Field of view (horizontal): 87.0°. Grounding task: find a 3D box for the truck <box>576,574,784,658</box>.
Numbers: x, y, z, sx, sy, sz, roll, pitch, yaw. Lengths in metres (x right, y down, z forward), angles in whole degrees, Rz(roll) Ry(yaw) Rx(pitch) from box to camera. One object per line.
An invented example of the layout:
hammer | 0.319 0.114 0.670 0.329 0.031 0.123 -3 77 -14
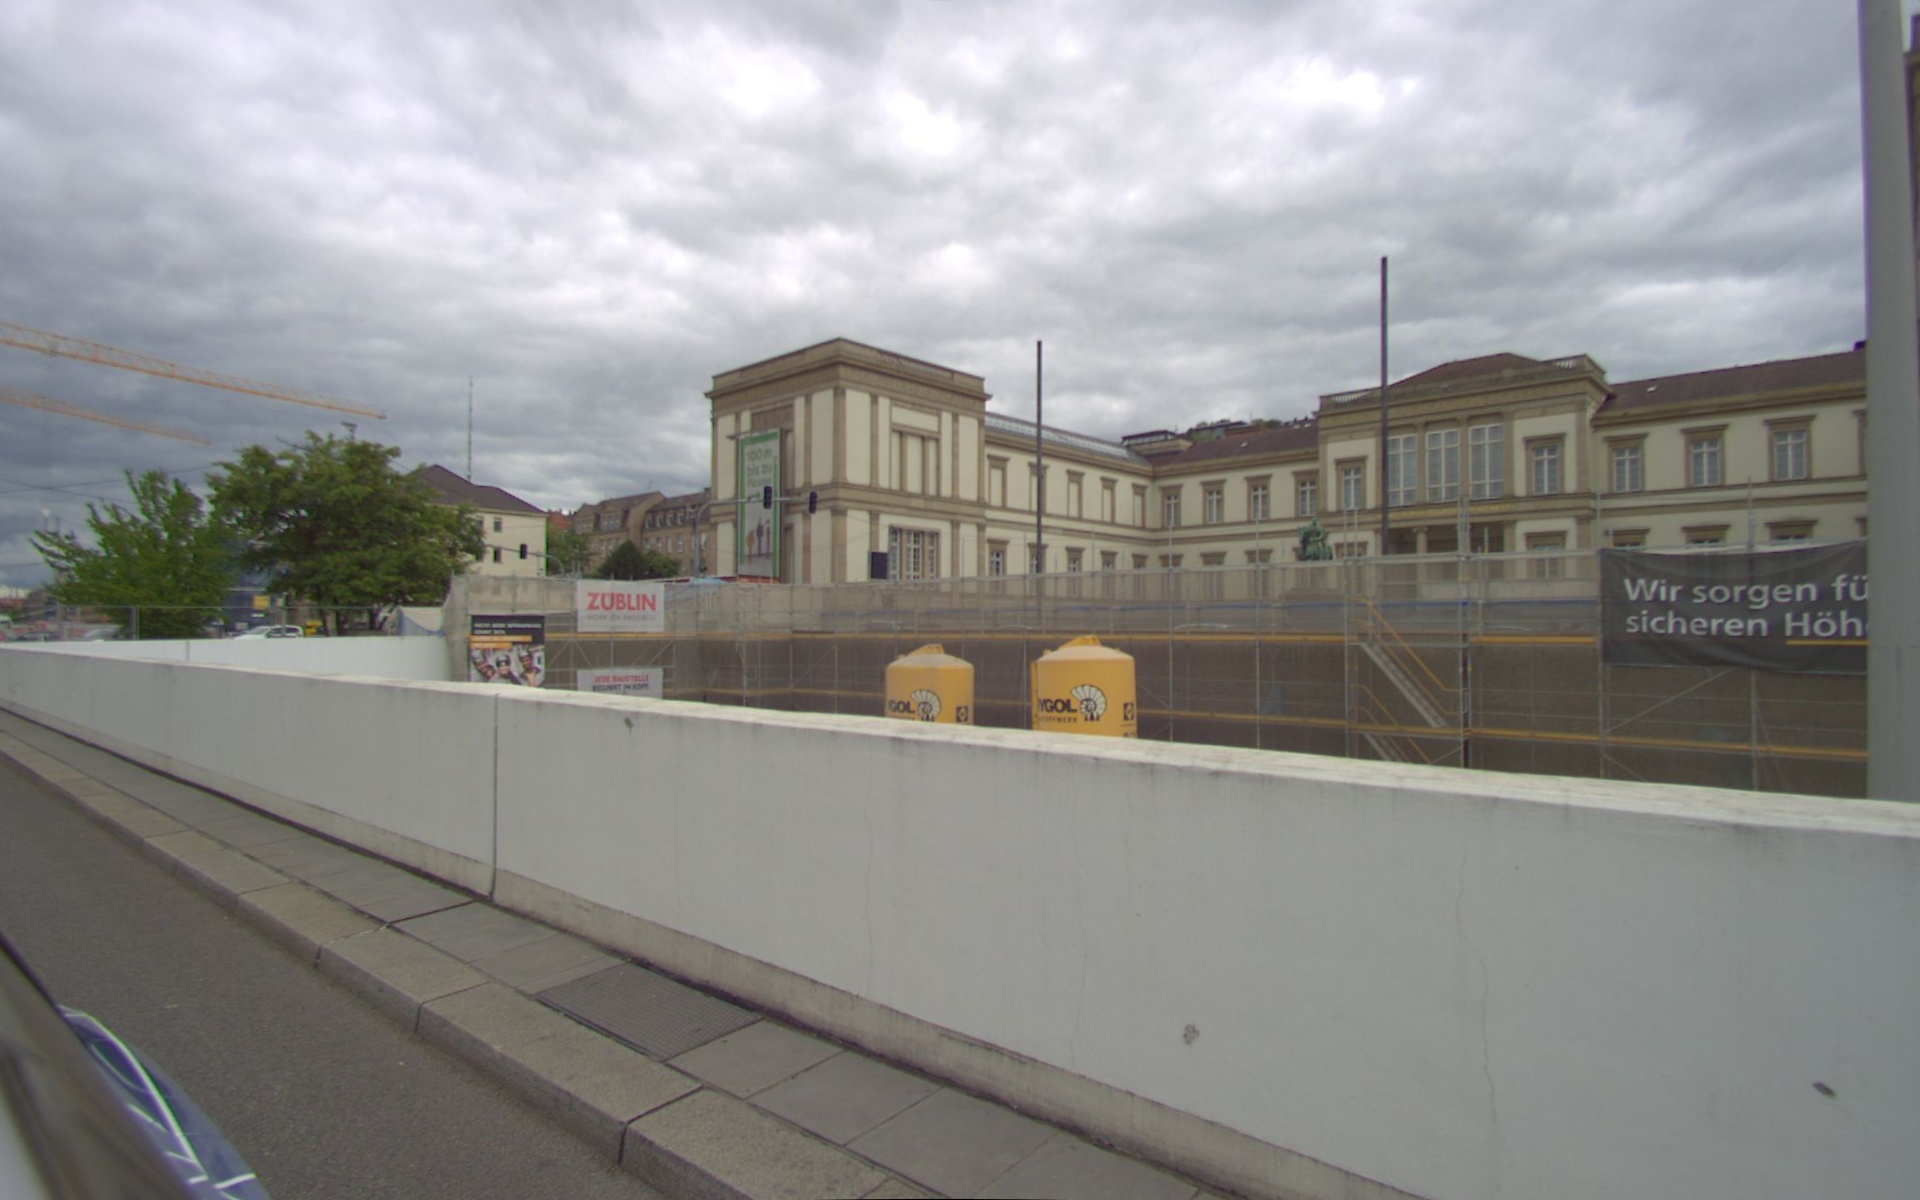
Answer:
truck | -16.058 1.016 56.412 16.613 4.114 2.885 -2 -4 43

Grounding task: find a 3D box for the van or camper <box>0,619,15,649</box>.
van or camper | -73.231 2.562 76.233 1.965 2.244 4.013 1 0 -28
